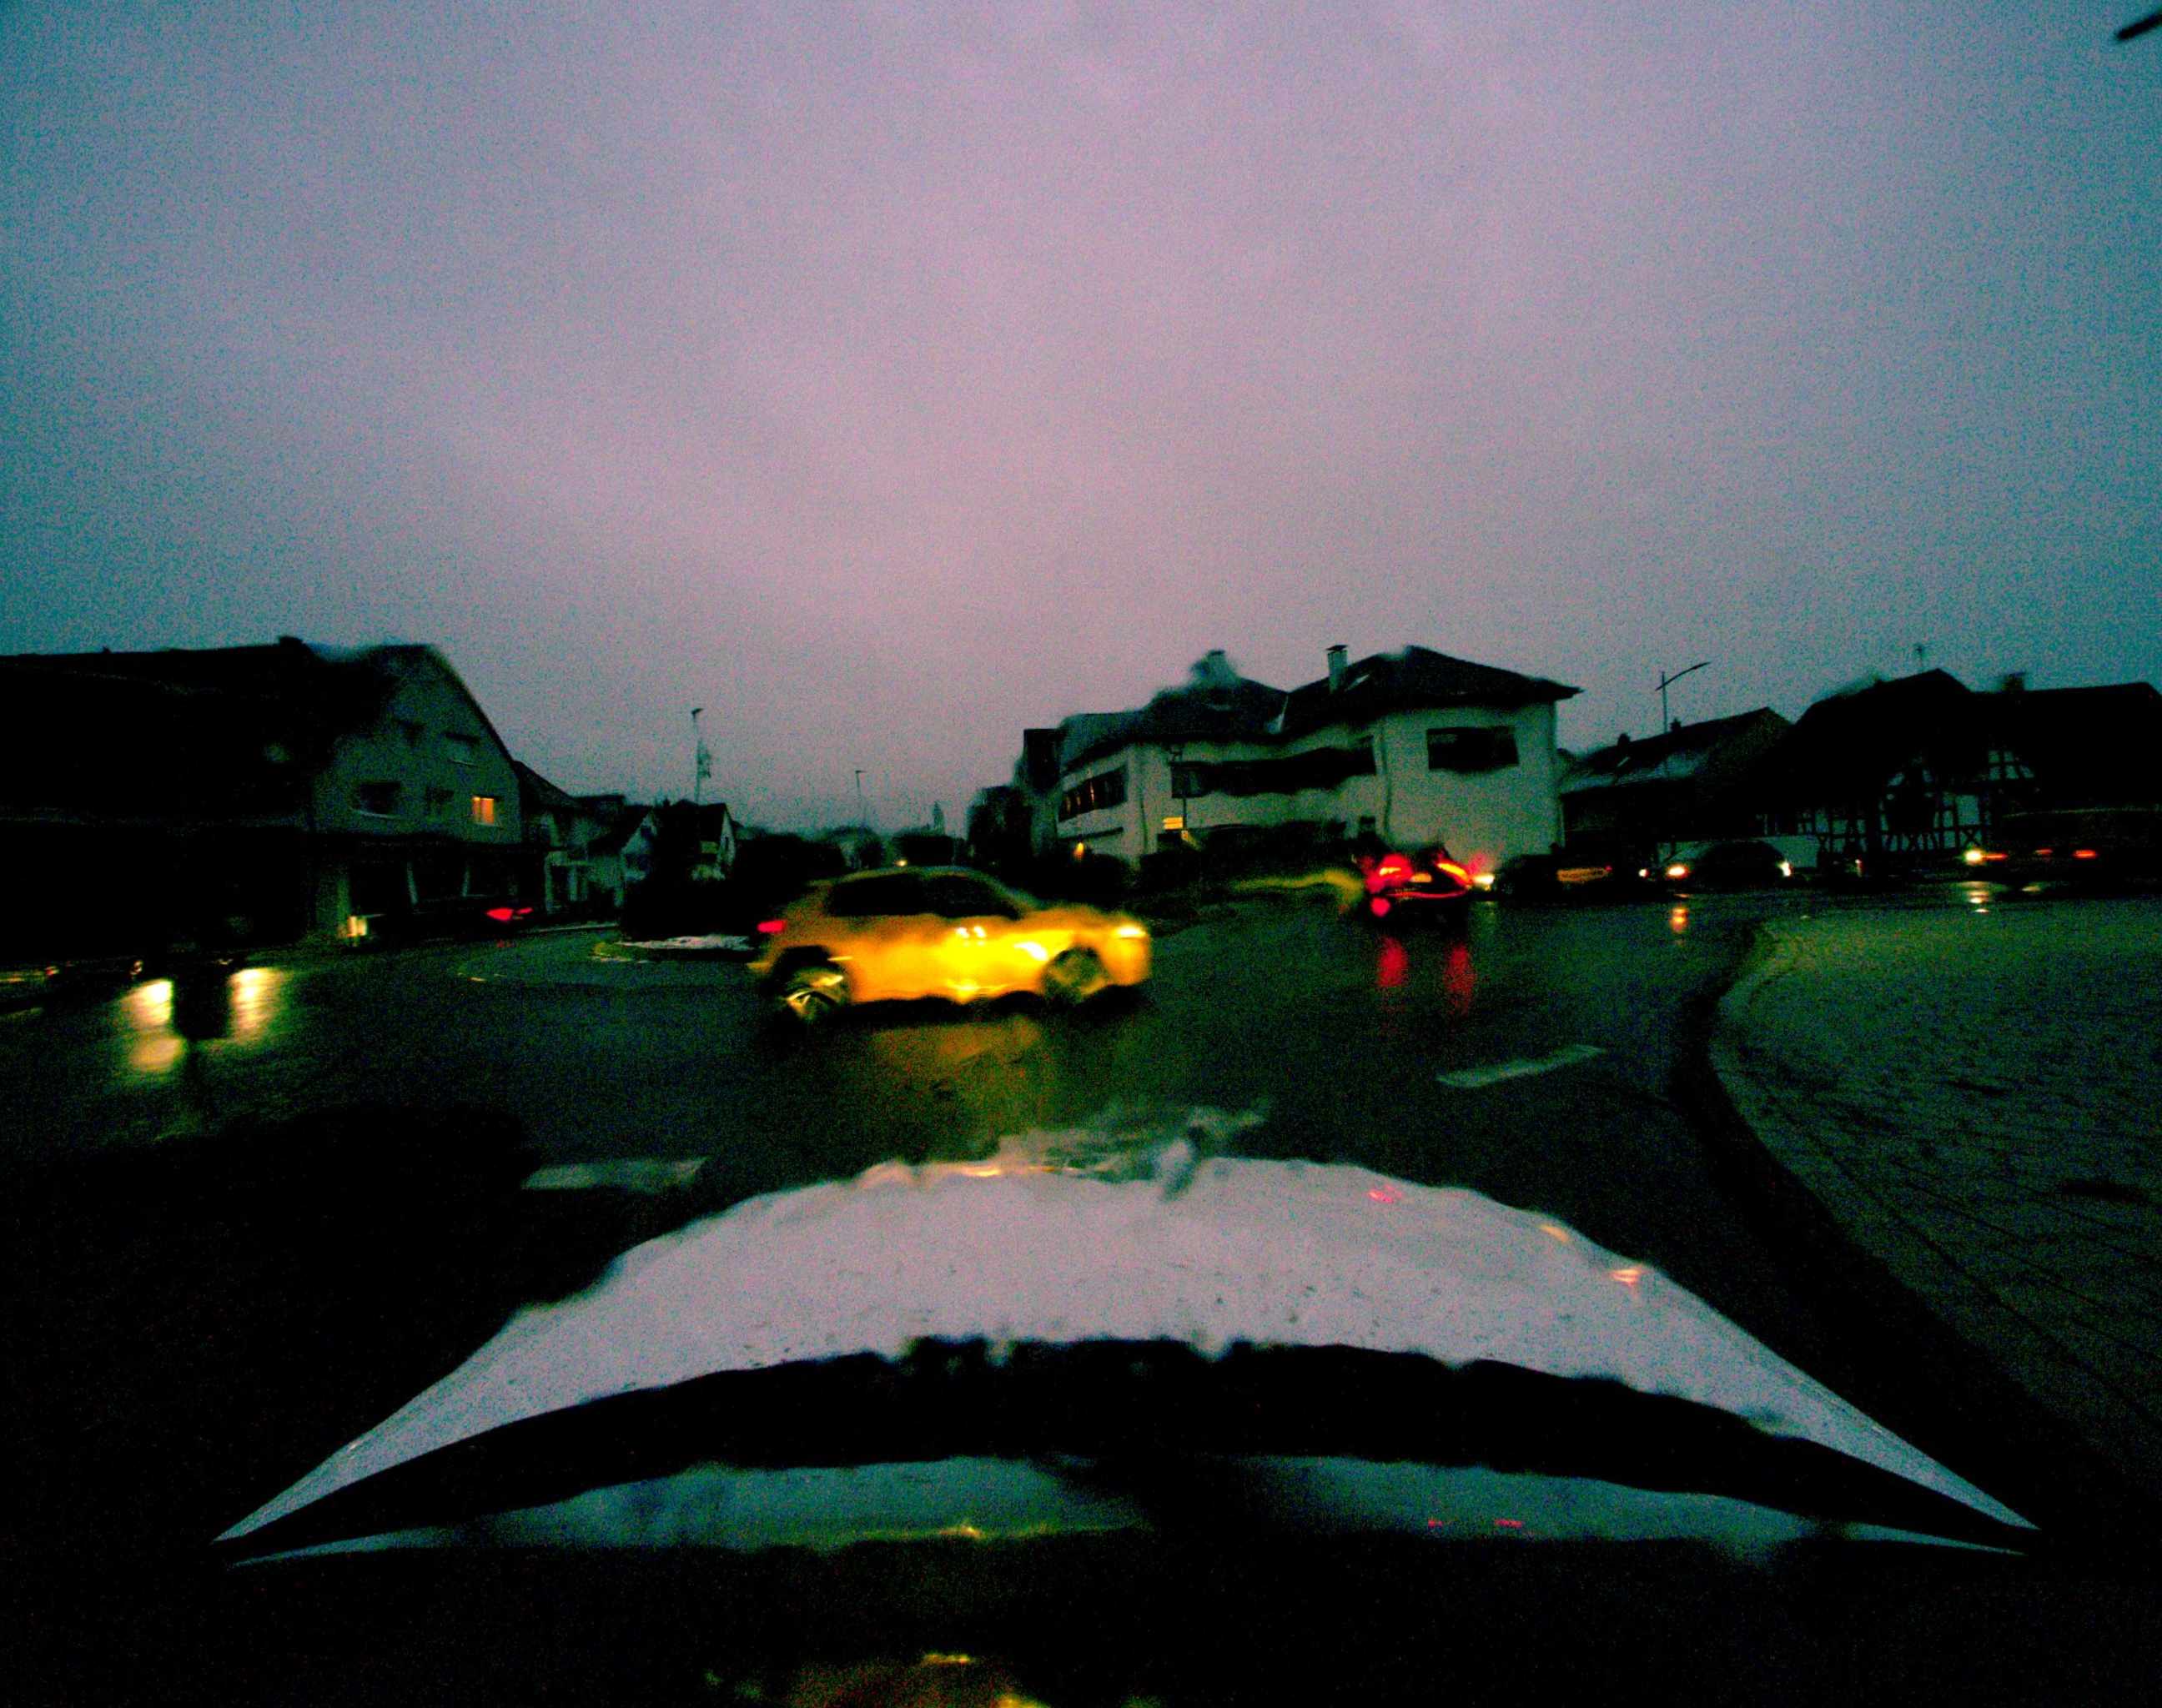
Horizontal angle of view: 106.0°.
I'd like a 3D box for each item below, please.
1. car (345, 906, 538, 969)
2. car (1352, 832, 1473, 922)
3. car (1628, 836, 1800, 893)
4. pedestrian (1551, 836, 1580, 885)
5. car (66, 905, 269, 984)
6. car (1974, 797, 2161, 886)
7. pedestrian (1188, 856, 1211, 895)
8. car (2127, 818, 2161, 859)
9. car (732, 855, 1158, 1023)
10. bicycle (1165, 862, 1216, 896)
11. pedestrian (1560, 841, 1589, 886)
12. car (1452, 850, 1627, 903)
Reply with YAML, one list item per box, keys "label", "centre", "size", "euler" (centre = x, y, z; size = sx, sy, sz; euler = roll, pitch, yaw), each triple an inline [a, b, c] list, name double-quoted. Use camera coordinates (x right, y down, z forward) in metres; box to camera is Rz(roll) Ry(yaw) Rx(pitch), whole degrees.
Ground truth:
- label: "car"
  centre: [-20.282, 2.619, 25.993]
  size: [4.476, 1.611, 1.897]
  euler: [-2, -1, -4]
- label: "car"
  centre: [6.936, 0.479, 17.422]
  size: [1.901, 1.615, 3.967]
  euler: [-4, -2, 16]
- label: "car"
  centre: [19.383, 0.348, 25.050]
  size: [3.977, 1.552, 1.695]
  euler: [-2, -2, -2]
- label: "pedestrian"
  centre: [18.650, 0.236, 31.372]
  size: [0.711, 1.832, 0.639]
  euler: [-2, 1, 8]
- label: "car"
  centre: [-22.136, 2.101, 19.730]
  size: [4.575, 1.593, 1.965]
  euler: [-1, 0, 24]
- label: "car"
  centre: [25.617, -0.347, 20.453]
  size: [4.886, 2.014, 1.992]
  euler: [-2, -1, -11]
- label: "pedestrian"
  centre: [4.874, 0.875, 33.422]
  size: [0.683, 1.564, 0.614]
  euler: [-3, 0, 28]
- label: "car"
  centre: [42.250, -0.661, 30.747]
  size: [3.700, 1.550, 1.670]
  euler: [-2, -1, -6]
- label: "car"
  centre: [-1.300, 0.807, 8.633]
  size: [3.989, 1.422, 1.714]
  euler: [-2, 0, -2]
- label: "bicycle"
  centre: [4.452, 1.016, 33.205]
  size: [1.918, 1.295, 0.555]
  euler: [-3, 1, 27]
- label: "pedestrian"
  centre: [18.436, 0.348, 30.433]
  size: [0.711, 1.621, 0.584]
  euler: [-2, 0, 8]
- label: "car"
  centre: [13.840, 0.712, 24.814]
  size: [4.200, 1.384, 1.853]
  euler: [-3, -3, 5]
